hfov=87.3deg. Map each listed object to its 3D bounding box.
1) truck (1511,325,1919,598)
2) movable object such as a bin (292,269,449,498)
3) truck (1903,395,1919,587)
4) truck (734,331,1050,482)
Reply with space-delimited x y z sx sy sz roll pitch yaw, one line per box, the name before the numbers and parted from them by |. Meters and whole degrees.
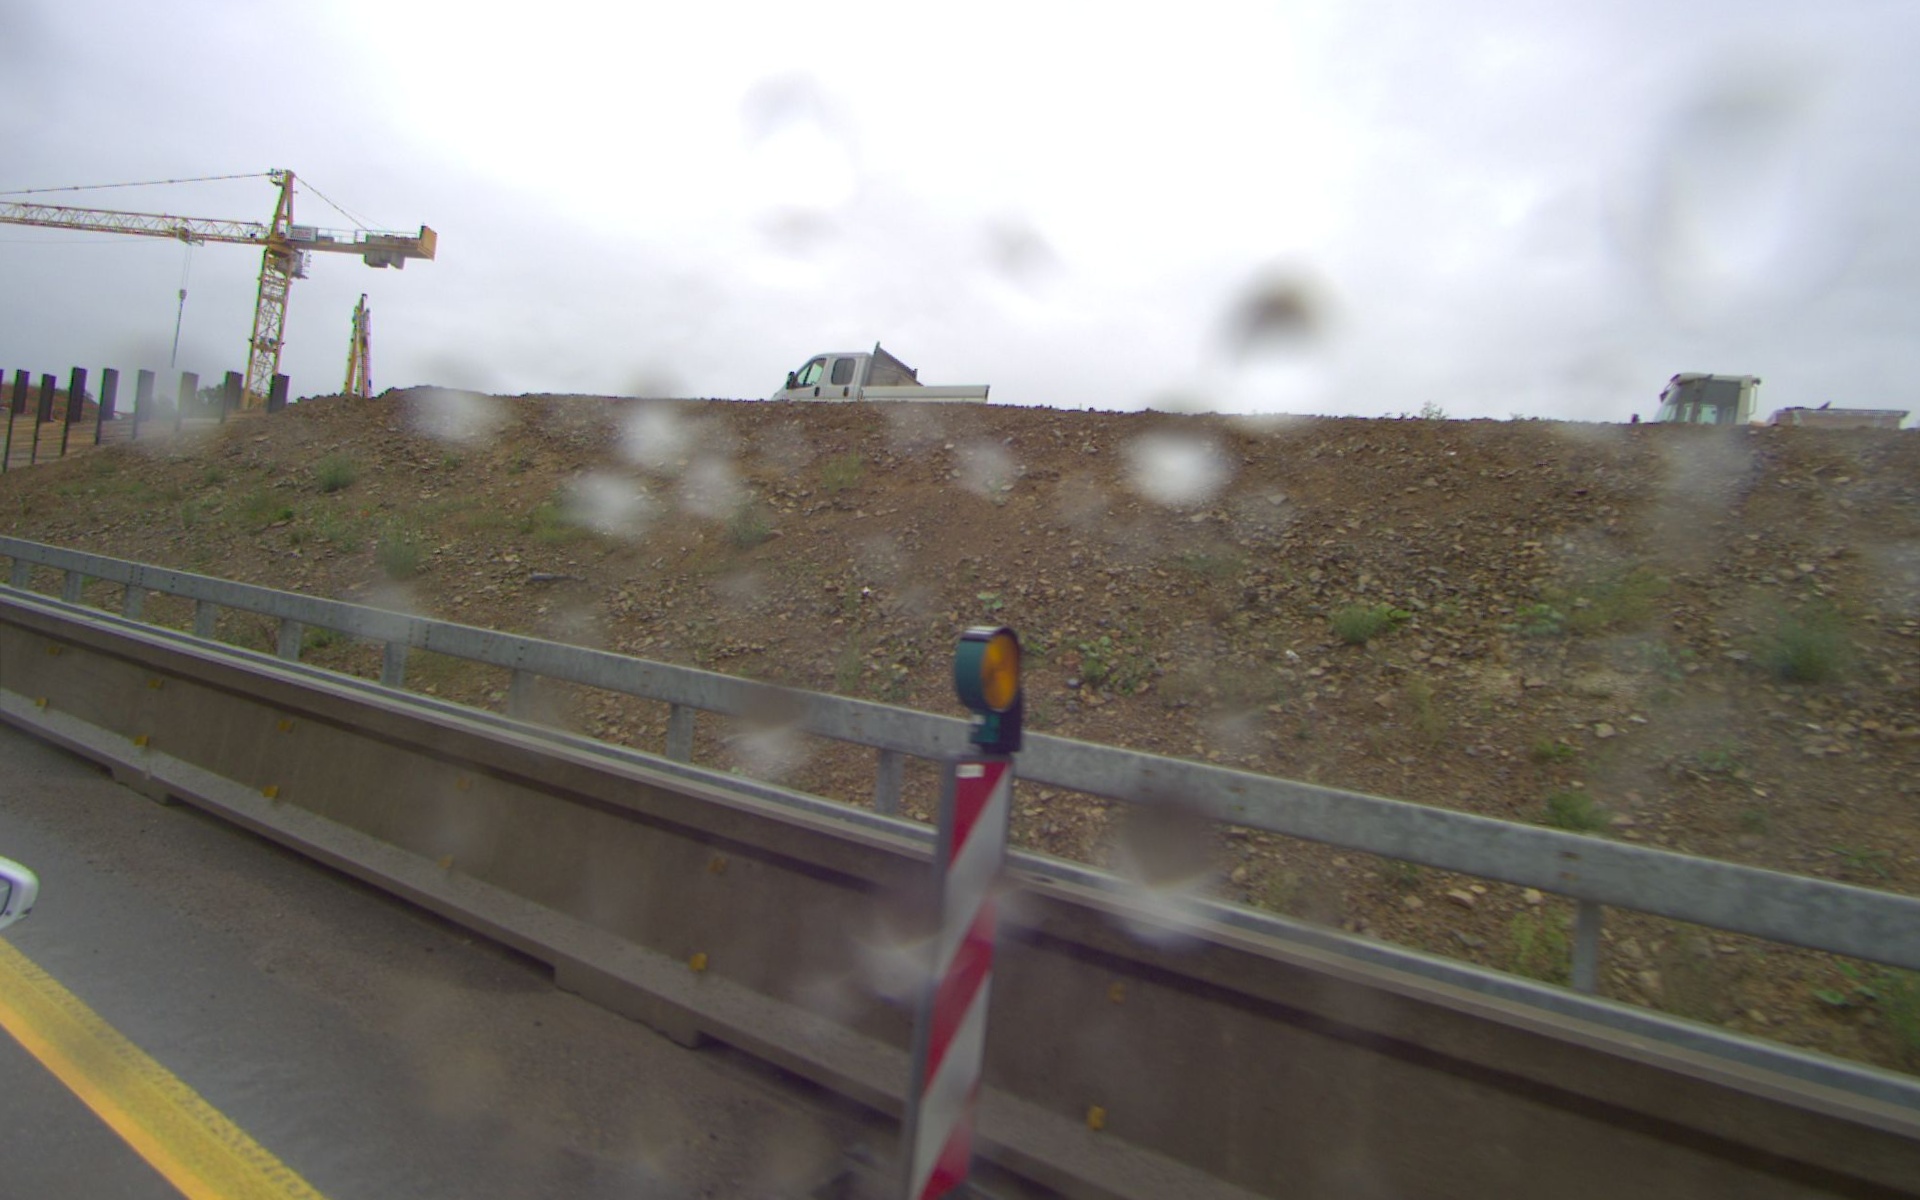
truck | 13.908 -2.461 18.923 5.880 4.267 2.377 4 -2 31
movable object such as a bin | -34.338 -11.981 58.326 4.705 10.969 10.180 7 -2 -44
truck | 17.340 -1.557 11.576 8.817 2.908 3.399 4 -2 34
truck | -1.676 -4.285 23.385 6.869 2.584 2.650 4 -2 31
